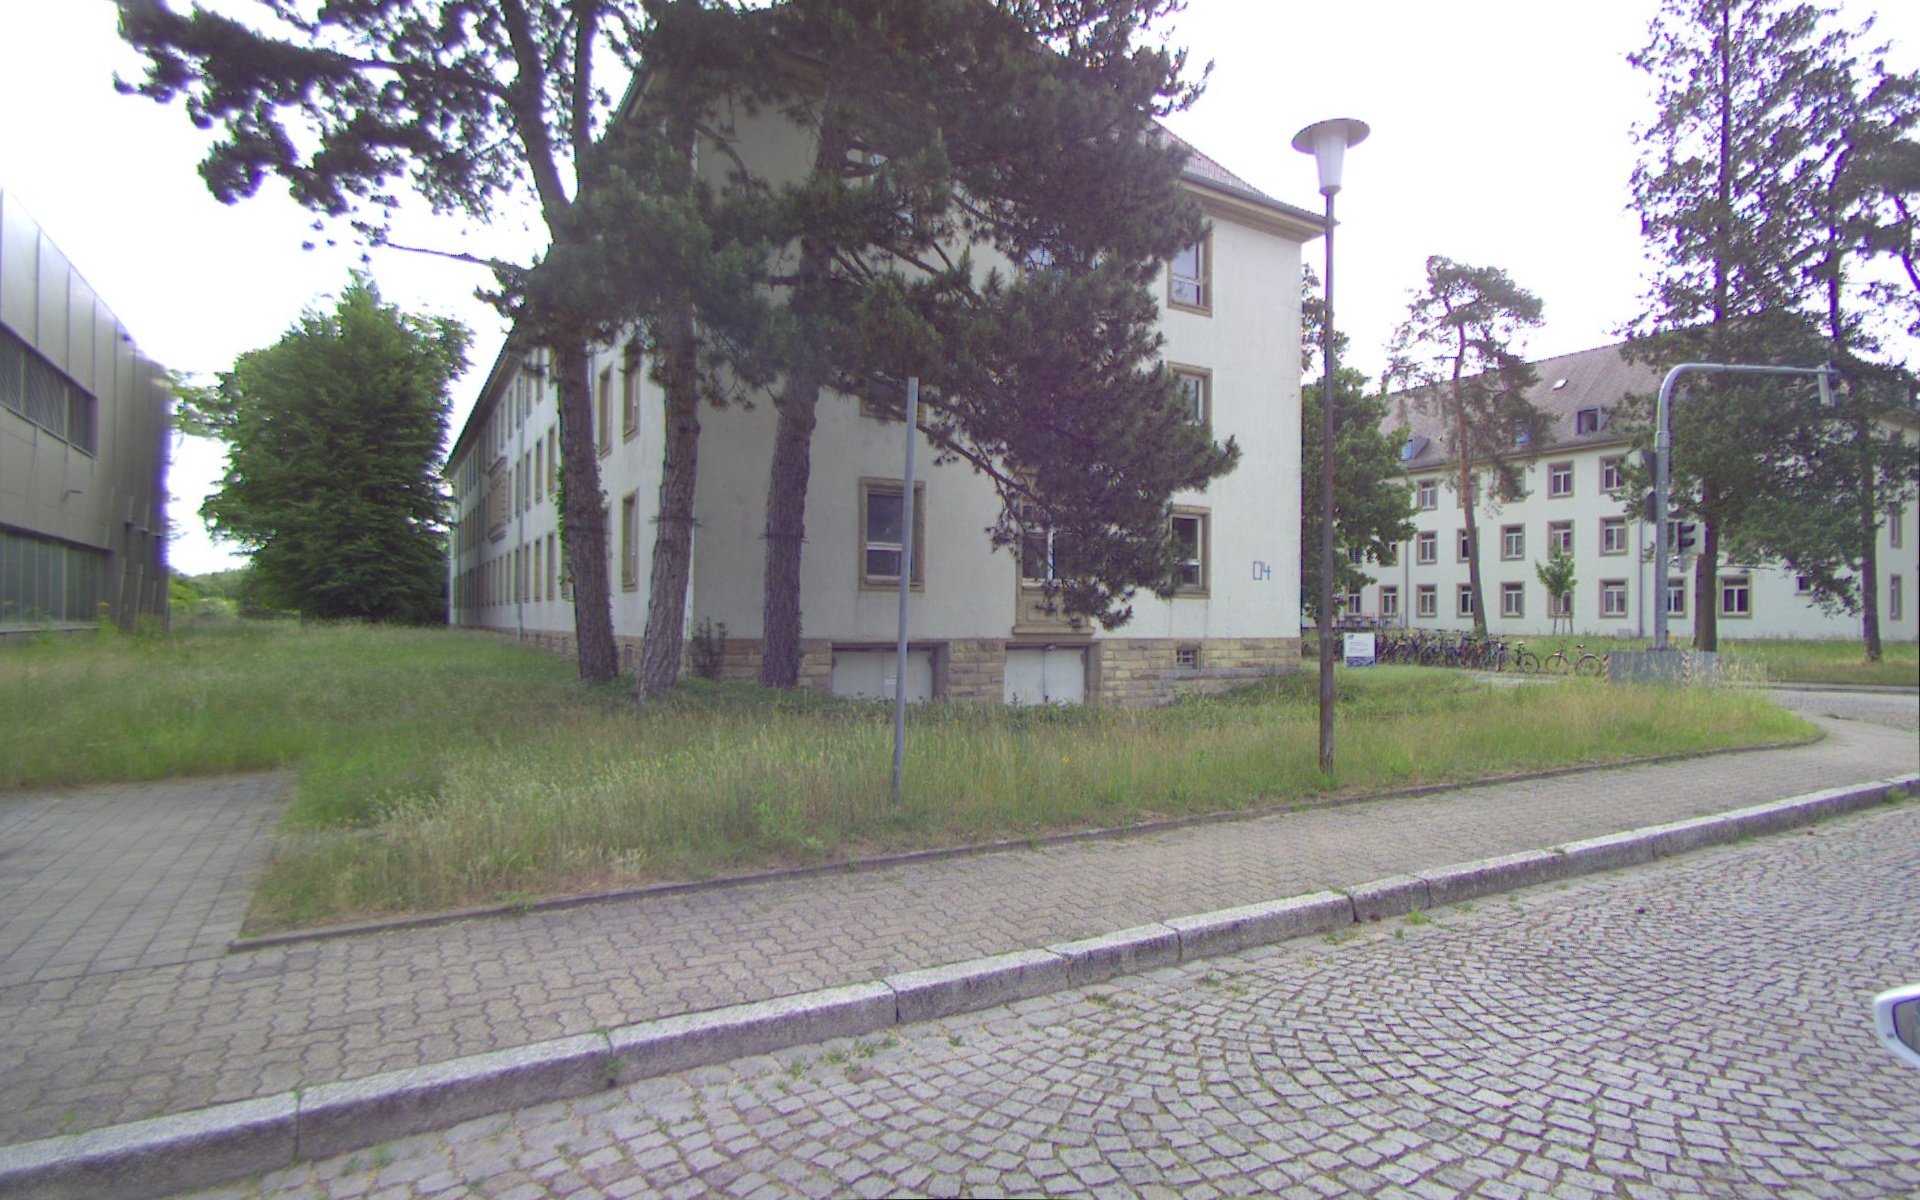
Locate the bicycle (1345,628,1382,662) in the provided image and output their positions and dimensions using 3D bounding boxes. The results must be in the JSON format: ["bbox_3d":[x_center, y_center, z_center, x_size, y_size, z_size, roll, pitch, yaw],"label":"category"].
[{"bbox_3d":[15.646,1.730,38.920,1.677,1.300,0.446,1,-1,-33],"label":"bicycle"}]

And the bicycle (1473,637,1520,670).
[{"bbox_3d":[18.436,1.820,34.504,1.975,1.092,0.571,1,-1,-33],"label":"bicycle"}]

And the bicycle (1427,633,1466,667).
[{"bbox_3d":[17.438,1.771,35.986,1.677,1.193,0.446,1,-1,-33],"label":"bicycle"}]

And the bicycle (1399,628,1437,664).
[{"bbox_3d":[16.902,1.698,37.062,1.677,1.300,0.446,1,-1,-33],"label":"bicycle"}]

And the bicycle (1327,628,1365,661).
[{"bbox_3d":[15.316,1.751,39.840,1.766,1.300,0.440,1,-1,-33],"label":"bicycle"}]

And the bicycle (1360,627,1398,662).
[{"bbox_3d":[16.007,1.682,38.364,1.677,1.300,0.446,1,-1,-33],"label":"bicycle"}]

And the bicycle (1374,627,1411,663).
[{"bbox_3d":[16.313,1.687,37.893,1.677,1.300,0.446,1,-1,-33],"label":"bicycle"}]

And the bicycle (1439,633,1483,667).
[{"bbox_3d":[17.747,1.764,35.576,1.909,1.193,0.524,1,-1,-33],"label":"bicycle"}]

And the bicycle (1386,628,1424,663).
[{"bbox_3d":[16.611,1.693,37.473,1.677,1.300,0.446,1,-1,-33],"label":"bicycle"}]

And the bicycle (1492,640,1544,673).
[{"bbox_3d":[17.990,1.819,32.417,0.447,1.009,1.453,1,-1,-29],"label":"bicycle"}]

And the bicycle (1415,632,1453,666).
[{"bbox_3d":[17.175,1.754,36.393,1.677,1.193,0.446,1,-1,-33],"label":"bicycle"}]

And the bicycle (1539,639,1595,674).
[{"bbox_3d":[18.785,1.738,31.118,0.447,1.009,1.453,1,-1,-29],"label":"bicycle"}]

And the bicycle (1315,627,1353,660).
[{"bbox_3d":[14.969,1.720,40.169,1.808,1.300,0.446,1,-1,-33],"label":"bicycle"}]

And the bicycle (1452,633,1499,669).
[{"bbox_3d":[18.004,1.768,35.050,1.933,1.193,0.571,1,-1,-33],"label":"bicycle"}]
